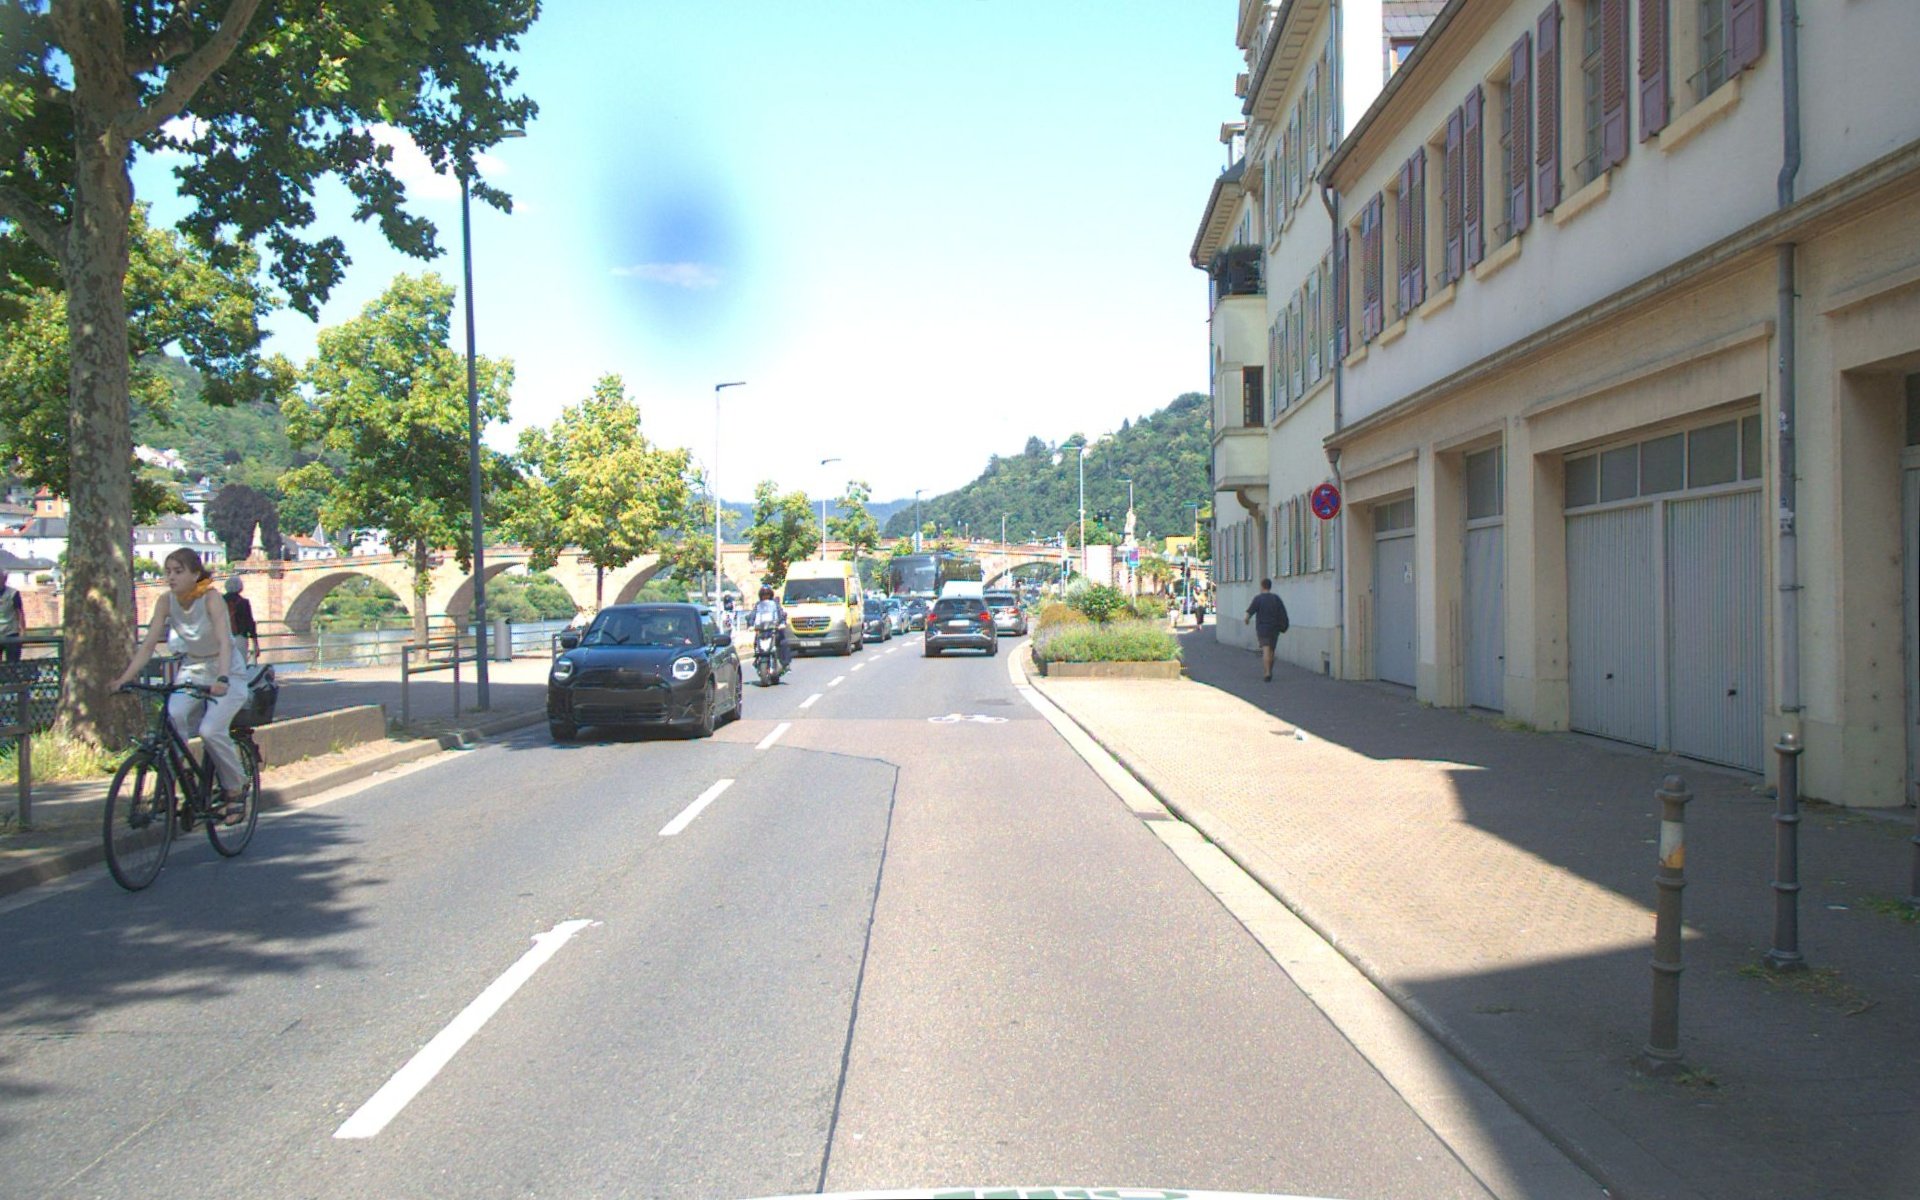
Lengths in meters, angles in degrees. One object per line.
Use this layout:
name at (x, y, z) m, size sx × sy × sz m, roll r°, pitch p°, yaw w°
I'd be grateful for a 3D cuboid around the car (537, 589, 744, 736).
car at (-3.550, 0.651, 19.013) m, size 1.666 × 1.484 × 4.001 m, roll -1°, pitch 0°, yaw -1°

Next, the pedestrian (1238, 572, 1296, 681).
pedestrian at (5.094, 0.437, 27.466) m, size 0.746 × 1.743 × 0.696 m, roll -3°, pitch -1°, yaw 1°

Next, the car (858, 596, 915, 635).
car at (-2.932, 0.602, 66.688) m, size 1.775 × 1.453 × 4.313 m, roll -2°, pitch 0°, yaw 4°

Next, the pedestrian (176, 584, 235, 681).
pedestrian at (-12.873, 0.549, 28.238) m, size 0.679 × 1.644 × 0.664 m, roll 0°, pitch -1°, yaw 6°

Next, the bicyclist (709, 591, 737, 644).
bicyclist at (-7.679, 0.550, 53.564) m, size 0.725 × 1.697 × 1.089 m, roll 0°, pitch 0°, yaw 0°

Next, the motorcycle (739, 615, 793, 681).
motorcycle at (-3.406, 0.844, 29.223) m, size 0.866 × 1.096 × 2.325 m, roll -1°, pitch -2°, yaw -5°

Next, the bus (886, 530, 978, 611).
bus at (-1.246, -1.314, 83.012) m, size 2.575 × 3.627 × 12.992 m, roll 0°, pitch -1°, yaw 8°

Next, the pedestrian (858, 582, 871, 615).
pedestrian at (-5.240, -0.100, 90.550) m, size 0.607 × 1.811 × 0.662 m, roll 0°, pitch 0°, yaw 6°

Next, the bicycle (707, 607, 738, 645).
bicycle at (-7.680, 0.831, 53.554) m, size 0.697 × 1.189 × 1.896 m, roll 0°, pitch 0°, yaw 0°

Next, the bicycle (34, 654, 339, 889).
bicycle at (-4.279, 0.898, 9.338) m, size 0.725 × 1.096 × 1.954 m, roll 1°, pitch 0°, yaw 2°

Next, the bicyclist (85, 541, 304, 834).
bicyclist at (-4.299, 0.453, 9.364) m, size 0.751 × 1.558 × 1.025 m, roll 1°, pitch 2°, yaw 0°

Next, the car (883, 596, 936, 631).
car at (-2.201, 0.557, 72.917) m, size 1.778 × 1.454 × 4.195 m, roll -1°, pitch 0°, yaw 5°

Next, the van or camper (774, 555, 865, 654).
van or camper at (-3.908, 0.142, 47.144) m, size 2.045 × 2.602 × 7.090 m, roll 0°, pitch 0°, yaw -1°

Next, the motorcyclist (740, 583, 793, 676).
motorcyclist at (-3.416, 0.510, 29.291) m, size 0.861 × 1.611 × 1.024 m, roll 0°, pitch -1°, yaw -3°

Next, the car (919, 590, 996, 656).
car at (-0.037, 0.547, 42.669) m, size 1.887 × 1.580 × 4.832 m, roll 0°, pitch 0°, yaw 0°

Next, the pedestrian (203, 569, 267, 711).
pedestrian at (-8.964, 0.487, 20.445) m, size 0.648 × 1.712 × 0.753 m, roll 2°, pitch -1°, yaw -25°

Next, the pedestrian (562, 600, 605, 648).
pedestrian at (-10.477, 0.661, 46.061) m, size 0.916 × 1.303 × 0.850 m, roll 0°, pitch -1°, yaw 7°

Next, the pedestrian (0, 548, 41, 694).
pedestrian at (-13.291, 0.294, 22.867) m, size 0.679 × 1.979 × 0.886 m, roll 0°, pitch -1°, yaw -2°

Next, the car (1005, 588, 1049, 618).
car at (3.443, 0.174, 84.289) m, size 1.885 × 1.487 × 4.835 m, roll 0°, pitch 0°, yaw 6°

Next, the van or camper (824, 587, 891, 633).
van or camper at (-3.578, 0.344, 58.406) m, size 1.952 × 1.480 × 4.683 m, roll -2°, pitch 0°, yaw 1°

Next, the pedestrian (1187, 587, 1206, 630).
pedestrian at (9.547, 0.345, 66.818) m, size 0.722 × 1.728 × 0.934 m, roll -1°, pitch 0°, yaw 6°

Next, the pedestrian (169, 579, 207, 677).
pedestrian at (-12.920, 0.471, 27.686) m, size 0.406 × 1.625 × 0.451 m, roll 0°, pitch -1°, yaw 6°

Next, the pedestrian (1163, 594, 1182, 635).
pedestrian at (8.604, 0.577, 66.971) m, size 0.745 × 1.623 × 0.696 m, roll 0°, pitch 0°, yaw 6°

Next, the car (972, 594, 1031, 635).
car at (1.590, 0.520, 61.806) m, size 1.886 × 1.486 × 4.835 m, roll 0°, pitch 0°, yaw 5°

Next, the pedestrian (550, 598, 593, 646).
pedestrian at (-10.582, 0.601, 45.062) m, size 0.916 × 1.303 × 0.850 m, roll 0°, pitch -1°, yaw 7°
